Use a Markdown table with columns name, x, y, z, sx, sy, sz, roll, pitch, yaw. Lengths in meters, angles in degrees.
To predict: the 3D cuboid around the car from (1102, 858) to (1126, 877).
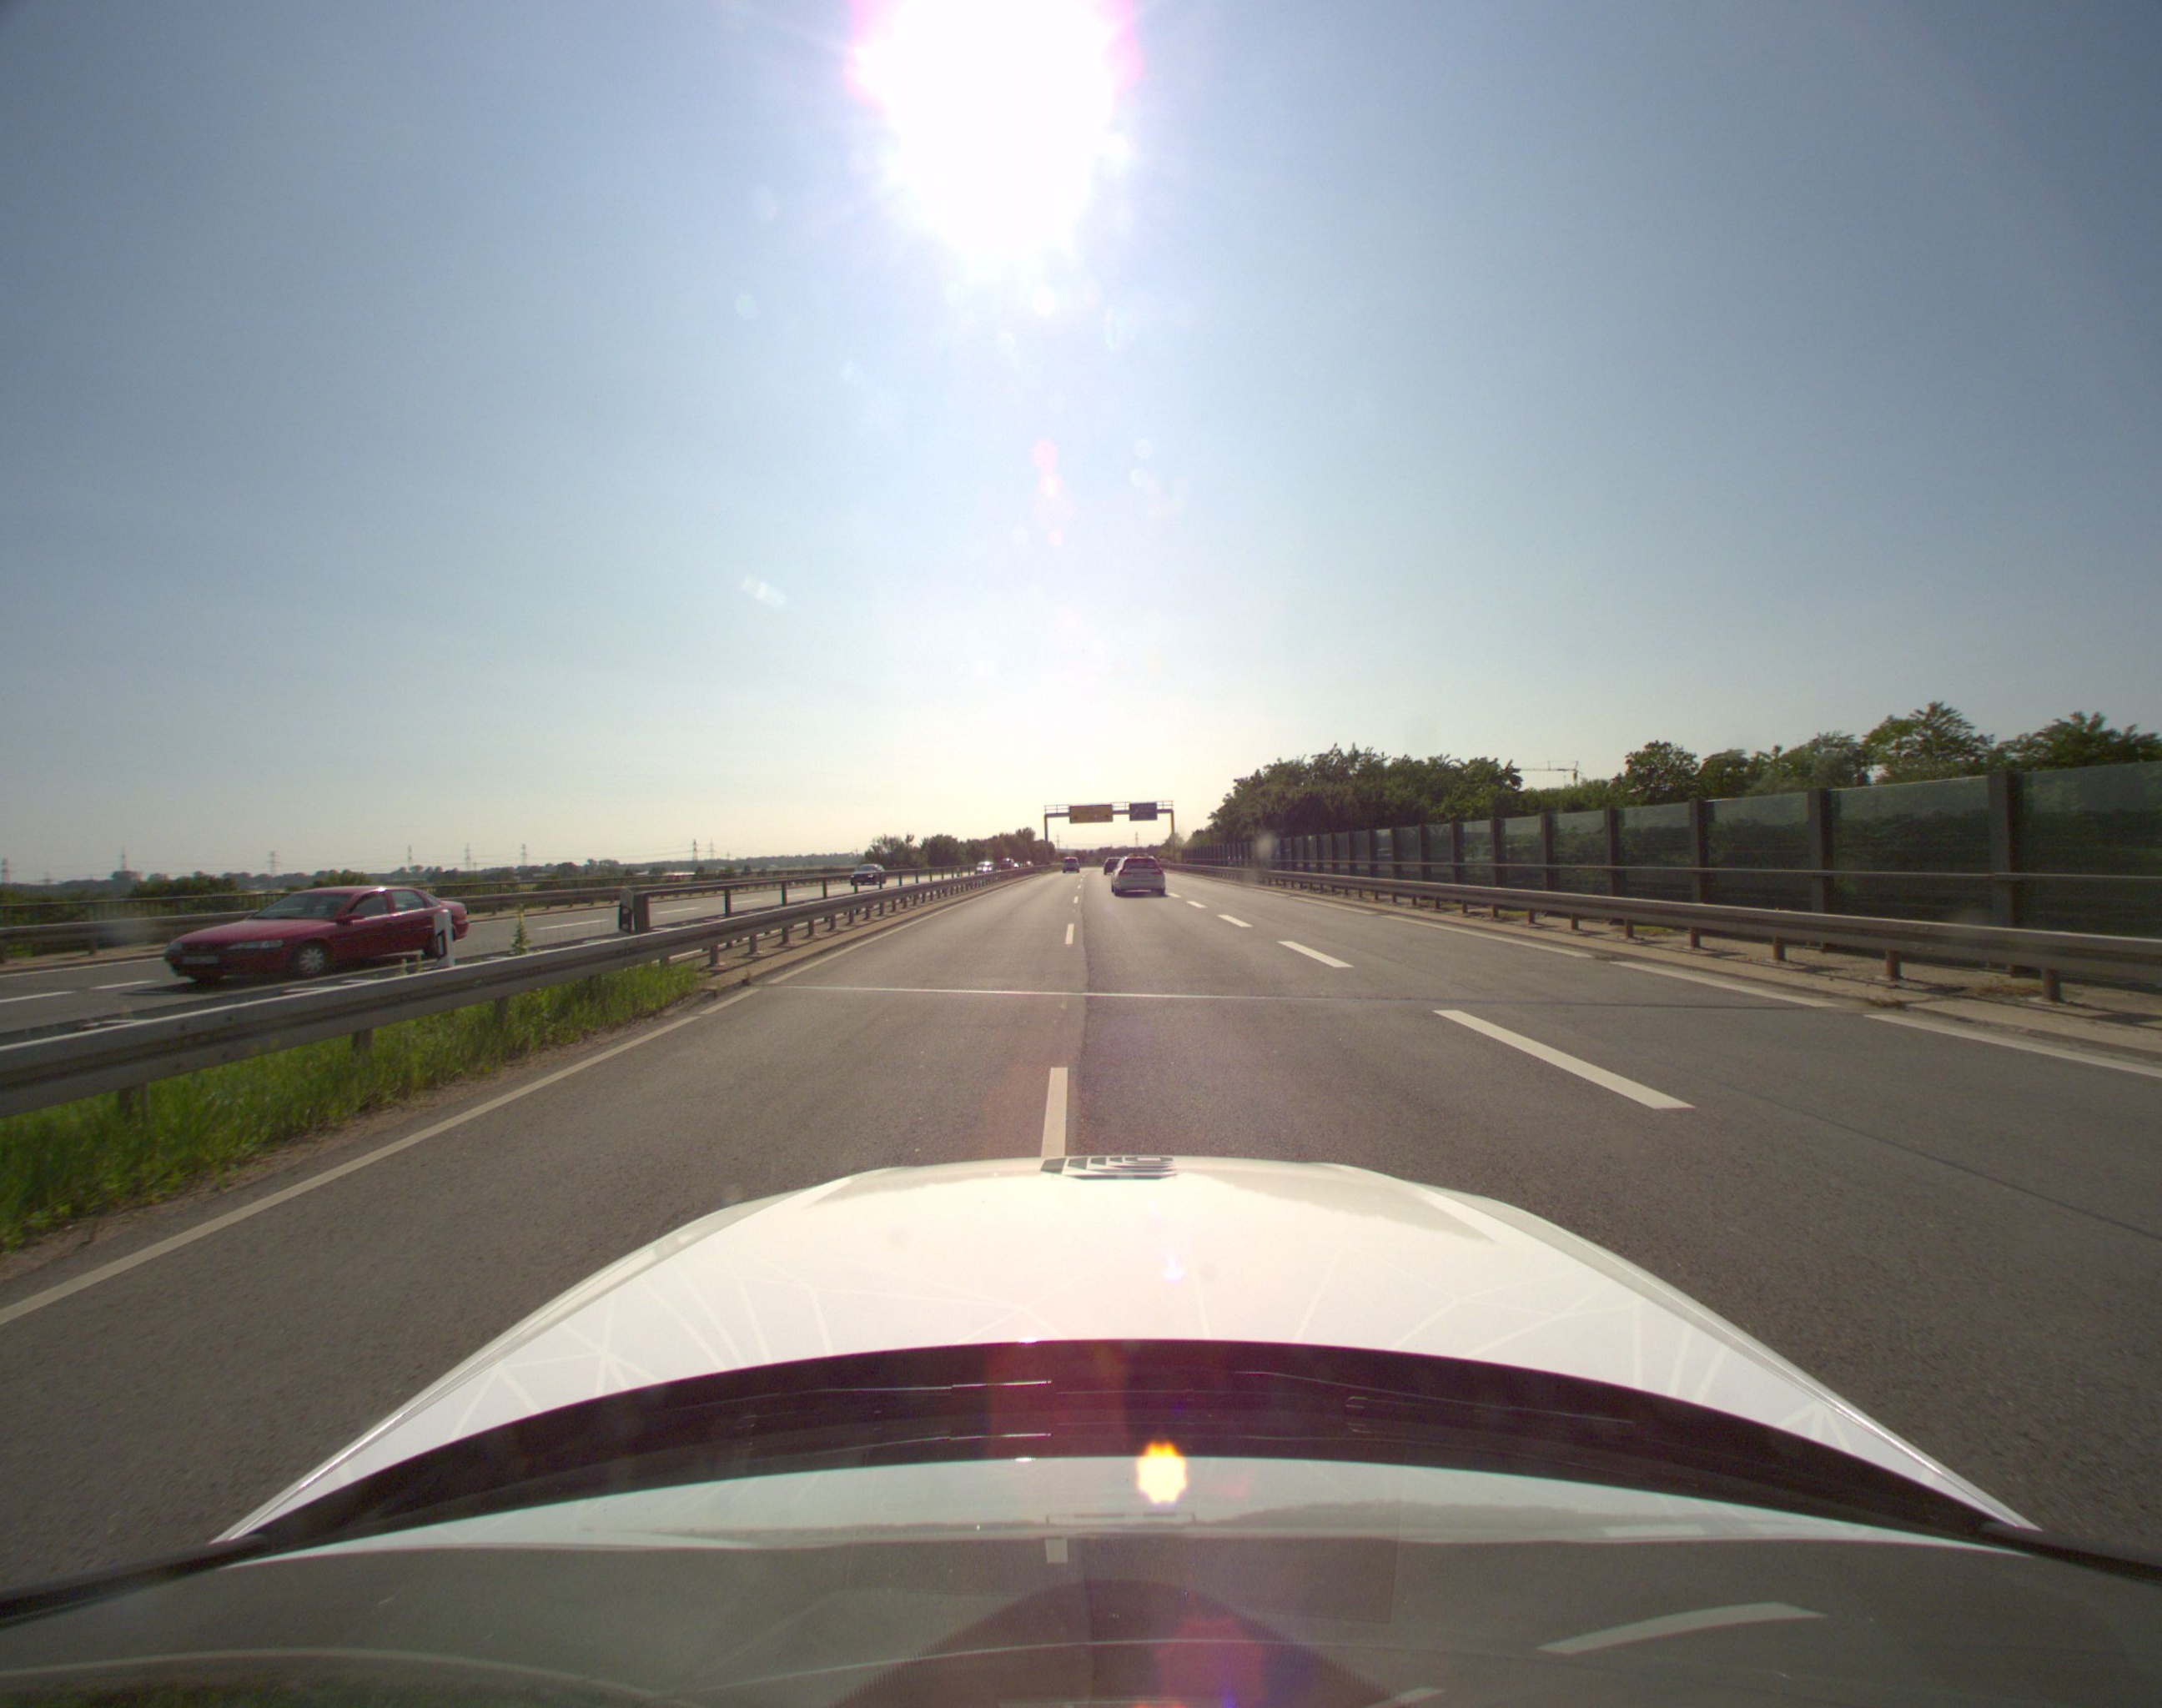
| name | x | y | z | sx | sy | sz | roll | pitch | yaw |
| --- | --- | --- | --- | --- | --- | --- | --- | --- | --- |
| car | 2.725 | 1.108 | 68.023 | 1.788 | 1.543 | 3.670 | -1 | -1 | -1 |

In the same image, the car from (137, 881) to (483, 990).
| name | x | y | z | sx | sy | sz | roll | pitch | yaw |
| --- | --- | --- | --- | --- | --- | --- | --- | --- | --- |
| car | -13.050 | 1.275 | 14.302 | 1.820 | 1.428 | 4.528 | -1 | 0 | -2 |

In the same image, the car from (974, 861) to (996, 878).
| name | x | y | z | sx | sy | sz | roll | pitch | yaw |
| --- | --- | --- | --- | --- | --- | --- | --- | --- | --- |
| car | -8.747 | 1.394 | 74.274 | 1.547 | 1.417 | 3.668 | -1 | 0 | 0 |

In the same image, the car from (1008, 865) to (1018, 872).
| name | x | y | z | sx | sy | sz | roll | pitch | yaw |
| --- | --- | --- | --- | --- | --- | --- | --- | --- | --- |
| car | -12.732 | 2.765 | 152.878 | 1.561 | 1.270 | 3.715 | -1 | 0 | 0 |

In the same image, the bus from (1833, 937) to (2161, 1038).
| name | x | y | z | sx | sy | sz | roll | pitch | yaw |
| --- | --- | --- | --- | --- | --- | --- | --- | --- | --- |
| bus | 33.303 | 4.767 | 29.868 | 8.309 | 3.163 | 2.558 | -1 | 0 | 11 |

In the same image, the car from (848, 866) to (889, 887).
| name | x | y | z | sx | sy | sz | roll | pitch | yaw |
| --- | --- | --- | --- | --- | --- | --- | --- | --- | --- |
| car | -15.049 | 1.586 | 57.887 | 1.773 | 1.384 | 4.000 | -1 | 0 | 0 |

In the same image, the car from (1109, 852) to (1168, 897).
| name | x | y | z | sx | sy | sz | roll | pitch | yaw |
| --- | --- | --- | --- | --- | --- | --- | --- | --- | --- |
| car | 2.134 | 0.751 | 31.321 | 1.952 | 1.601 | 4.106 | -1 | 0 | 0 |

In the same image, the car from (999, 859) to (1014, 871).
| name | x | y | z | sx | sy | sz | roll | pitch | yaw |
| --- | --- | --- | --- | --- | --- | --- | --- | --- | --- |
| car | -12.673 | 1.870 | 139.075 | 1.986 | 1.906 | 4.419 | -2 | -1 | 2 |

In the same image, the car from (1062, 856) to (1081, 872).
| name | x | y | z | sx | sy | sz | roll | pitch | yaw |
| --- | --- | --- | --- | --- | --- | --- | --- | --- | --- |
| car | -0.972 | 1.039 | 81.648 | 1.787 | 1.503 | 4.042 | -1 | -1 | 0 |
